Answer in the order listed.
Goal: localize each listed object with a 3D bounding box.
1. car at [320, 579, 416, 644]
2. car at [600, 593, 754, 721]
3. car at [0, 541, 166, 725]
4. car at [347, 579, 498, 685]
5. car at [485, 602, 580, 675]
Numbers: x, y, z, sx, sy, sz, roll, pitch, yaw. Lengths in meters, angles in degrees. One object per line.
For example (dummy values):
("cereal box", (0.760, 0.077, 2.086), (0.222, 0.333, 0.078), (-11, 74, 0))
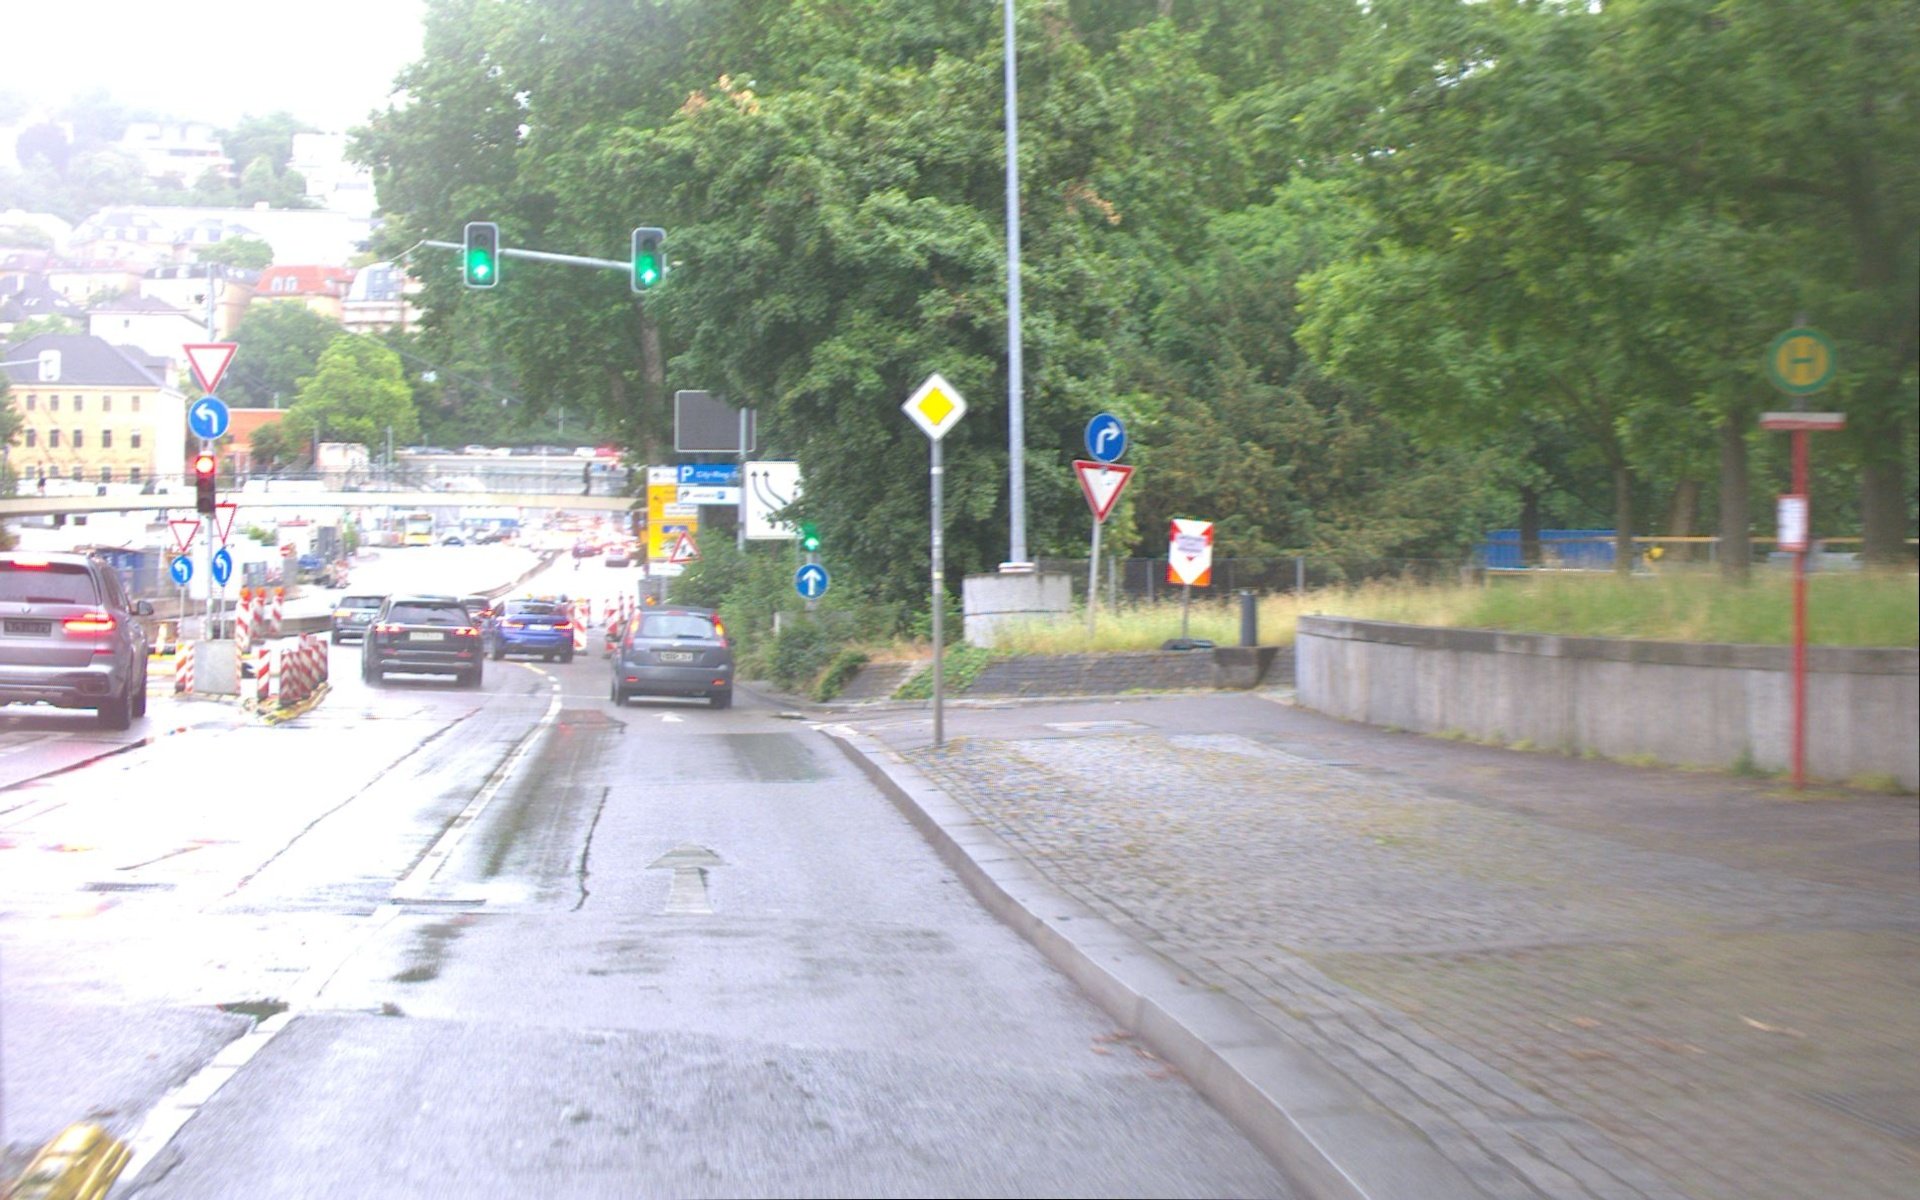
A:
("car", (-16.152, 0.313, 93.991), (1.904, 1.711, 4.000), (2, 0, 0))
("car", (-4.018, 0.791, 49.338), (1.852, 1.711, 4.000), (2, 0, 0))
("car", (-9.649, 0.317, 36.526), (1.993, 1.820, 4.001), (2, 0, -8))
("car", (-8.844, 0.505, 56.882), (1.830, 1.680, 4.134), (0, 0, 0))
("car", (-9.792, 0.868, 78.877), (1.674, 1.576, 3.239), (2, 0, 1))
